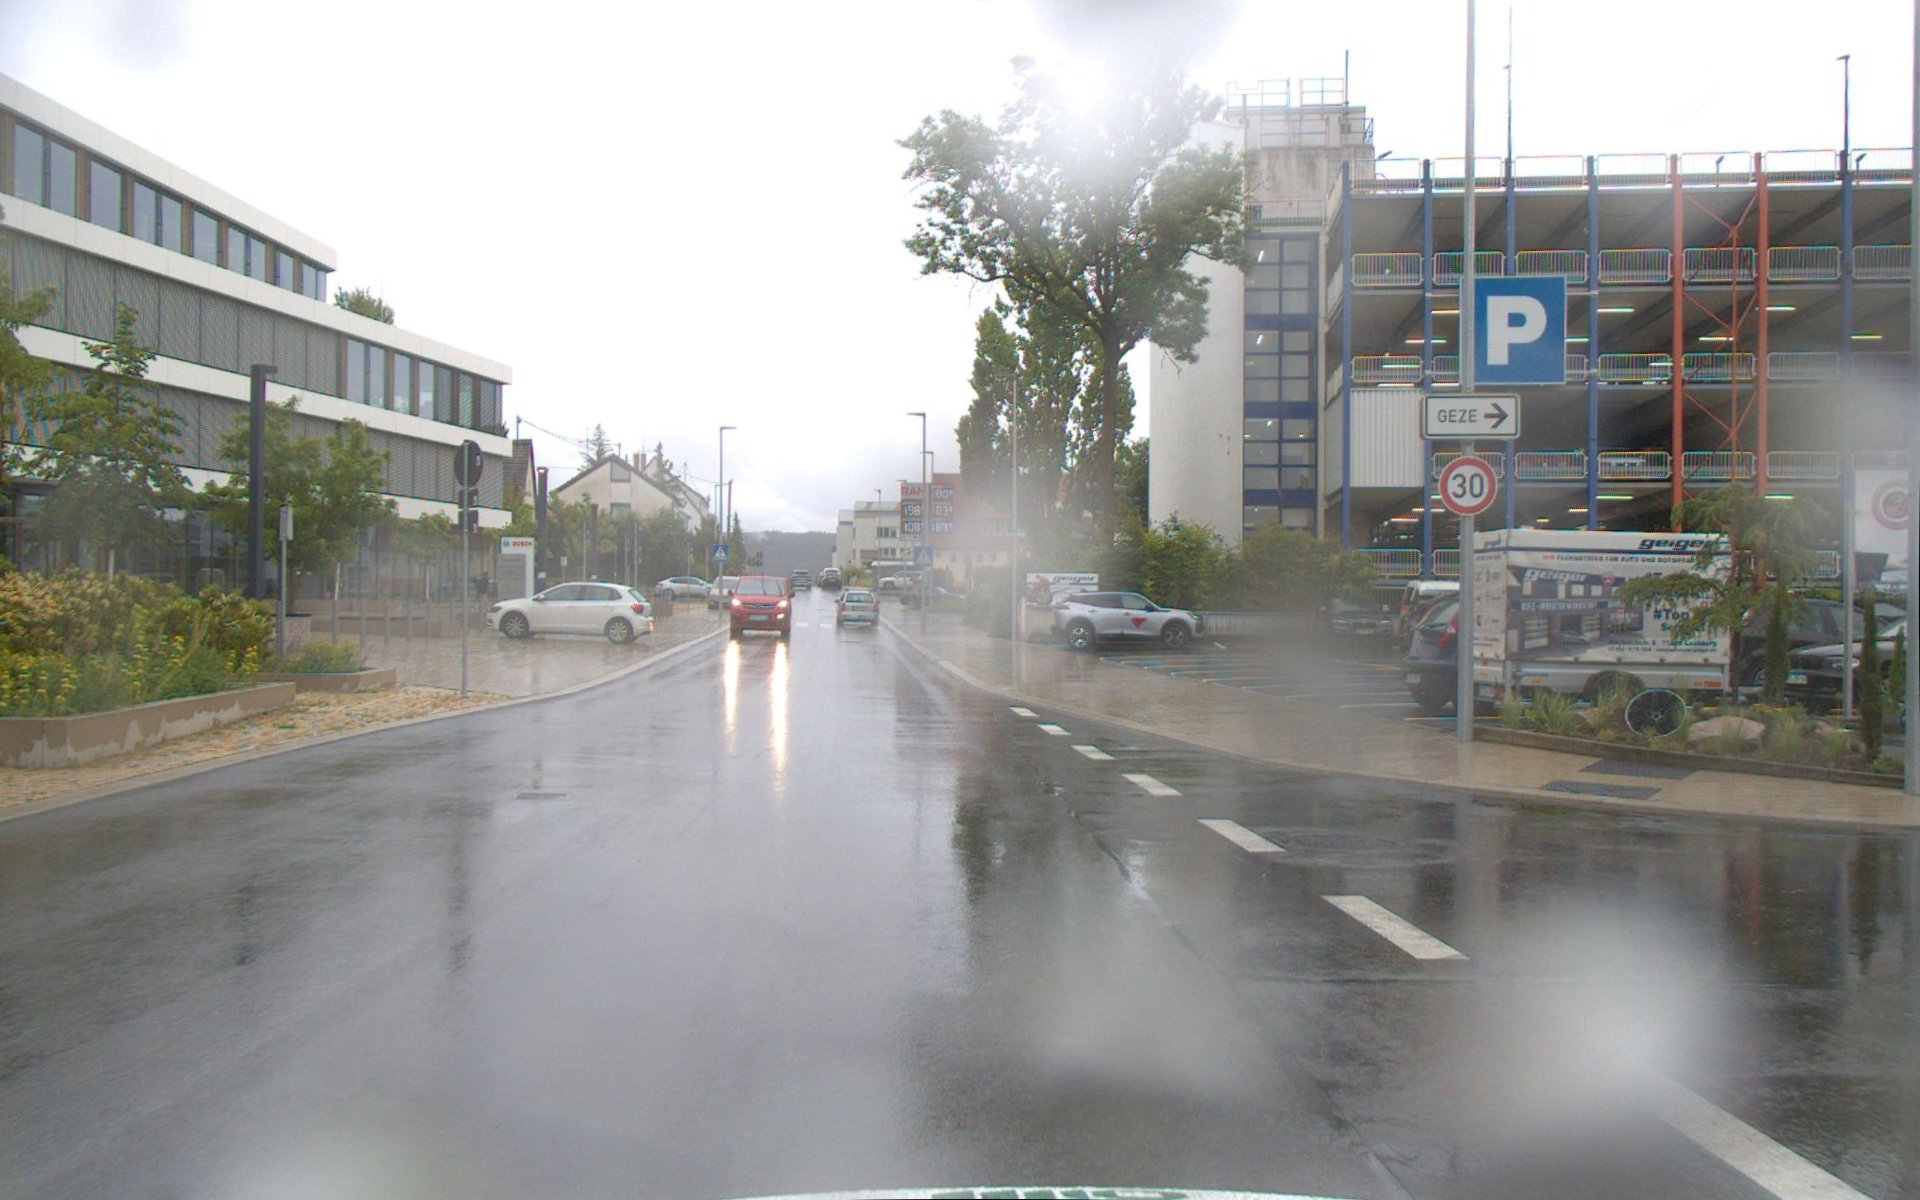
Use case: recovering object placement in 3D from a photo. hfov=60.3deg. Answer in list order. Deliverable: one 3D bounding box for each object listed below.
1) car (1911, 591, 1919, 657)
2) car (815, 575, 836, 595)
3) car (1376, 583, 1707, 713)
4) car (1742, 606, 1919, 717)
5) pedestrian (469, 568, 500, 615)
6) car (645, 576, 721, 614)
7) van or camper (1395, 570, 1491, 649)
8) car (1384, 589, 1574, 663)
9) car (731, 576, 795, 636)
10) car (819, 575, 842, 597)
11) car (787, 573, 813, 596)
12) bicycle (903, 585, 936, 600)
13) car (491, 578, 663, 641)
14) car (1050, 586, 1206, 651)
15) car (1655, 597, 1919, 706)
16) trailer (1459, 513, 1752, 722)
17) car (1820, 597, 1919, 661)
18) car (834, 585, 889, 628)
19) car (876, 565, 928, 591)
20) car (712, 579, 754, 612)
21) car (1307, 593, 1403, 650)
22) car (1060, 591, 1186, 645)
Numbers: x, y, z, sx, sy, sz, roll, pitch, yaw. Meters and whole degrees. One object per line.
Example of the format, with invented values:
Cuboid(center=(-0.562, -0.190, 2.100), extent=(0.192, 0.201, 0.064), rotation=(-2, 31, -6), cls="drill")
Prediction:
Cuboid(center=(27.377, 0.665, 44.207), extent=(1.852, 1.845, 4.002), rotation=(4, -2, 6), cls="car")
Cuboid(center=(-13.403, -1.477, 164.373), extent=(1.955, 1.735, 3.995), rotation=(4, -2, -5), cls="car")
Cuboid(center=(7.403, 0.597, 21.235), extent=(3.653, 1.556, 1.648), rotation=(0, -1, -5), cls="car")
Cuboid(center=(12.208, 0.768, 21.175), extent=(3.656, 1.338, 1.690), rotation=(1, 0, -8), cls="car")
Cuboid(center=(-18.122, -0.336, 63.009), extent=(0.994, 1.754, 0.771), rotation=(1, 0, -8), cls="pedestrian")
Cuboid(center=(-18.040, -0.291, 107.862), extent=(4.664, 2.049, 1.997), rotation=(5, -2, -7), cls="car")
Cuboid(center=(13.327, 0.246, 45.885), extent=(1.799, 2.072, 4.465), rotation=(1, 0, 7), cls="van or camper")
Cuboid(center=(11.330, 0.561, 36.205), extent=(3.614, 1.526, 1.640), rotation=(1, 0, -5), cls="car")
Cuboid(center=(-6.420, 0.181, 54.253), extent=(1.964, 1.849, 4.973), rotation=(1, 0, -6), cls="car")
Cuboid(center=(-11.889, -1.232, 151.380), extent=(1.955, 1.735, 3.995), rotation=(4, -2, -5), cls="car")
Cuboid(center=(-14.088, -1.379, 145.521), extent=(2.112, 1.735, 3.995), rotation=(4, -2, -5), cls="car")
Cuboid(center=(-3.183, -0.569, 129.683), extent=(0.663, 1.085, 3.583), rotation=(5, -2, -36), cls="bicycle")
Cuboid(center=(-9.412, 0.225, 40.871), extent=(3.850, 1.448, 1.896), rotation=(1, 0, -4), cls="car")
Cuboid(center=(4.551, 0.493, 44.999), extent=(4.118, 1.678, 2.001), rotation=(-1, 0, 5), cls="car")
Cuboid(center=(12.024, 0.712, 23.441), extent=(3.656, 1.474, 1.728), rotation=(1, 0, -8), cls="car")
Cuboid(center=(7.178, 0.193, 18.556), extent=(2.648, 2.209, 1.547), rotation=(1, 0, -3), cls="trailer")
Cuboid(center=(24.974, 0.827, 44.499), extent=(1.852, 1.512, 4.002), rotation=(4, -2, 6), cls="car")
Cuboid(center=(-4.110, 0.297, 68.775), extent=(1.912, 1.583, 3.993), rotation=(5, -2, -7), cls="car")
Cuboid(center=(-4.768, -1.775, 136.185), extent=(4.036, 1.735, 1.785), rotation=(5, -2, -8), cls="car")
Cuboid(center=(-11.753, -0.244, 85.837), extent=(1.954, 1.657, 4.149), rotation=(0, 1, -5), cls="car")
Cuboid(center=(10.849, 0.556, 45.706), extent=(1.892, 1.467, 4.209), rotation=(1, 0, 4), cls="car")
Cuboid(center=(4.679, 0.512, 47.666), extent=(3.545, 1.521, 1.807), rotation=(0, 0, 4), cls="car")
